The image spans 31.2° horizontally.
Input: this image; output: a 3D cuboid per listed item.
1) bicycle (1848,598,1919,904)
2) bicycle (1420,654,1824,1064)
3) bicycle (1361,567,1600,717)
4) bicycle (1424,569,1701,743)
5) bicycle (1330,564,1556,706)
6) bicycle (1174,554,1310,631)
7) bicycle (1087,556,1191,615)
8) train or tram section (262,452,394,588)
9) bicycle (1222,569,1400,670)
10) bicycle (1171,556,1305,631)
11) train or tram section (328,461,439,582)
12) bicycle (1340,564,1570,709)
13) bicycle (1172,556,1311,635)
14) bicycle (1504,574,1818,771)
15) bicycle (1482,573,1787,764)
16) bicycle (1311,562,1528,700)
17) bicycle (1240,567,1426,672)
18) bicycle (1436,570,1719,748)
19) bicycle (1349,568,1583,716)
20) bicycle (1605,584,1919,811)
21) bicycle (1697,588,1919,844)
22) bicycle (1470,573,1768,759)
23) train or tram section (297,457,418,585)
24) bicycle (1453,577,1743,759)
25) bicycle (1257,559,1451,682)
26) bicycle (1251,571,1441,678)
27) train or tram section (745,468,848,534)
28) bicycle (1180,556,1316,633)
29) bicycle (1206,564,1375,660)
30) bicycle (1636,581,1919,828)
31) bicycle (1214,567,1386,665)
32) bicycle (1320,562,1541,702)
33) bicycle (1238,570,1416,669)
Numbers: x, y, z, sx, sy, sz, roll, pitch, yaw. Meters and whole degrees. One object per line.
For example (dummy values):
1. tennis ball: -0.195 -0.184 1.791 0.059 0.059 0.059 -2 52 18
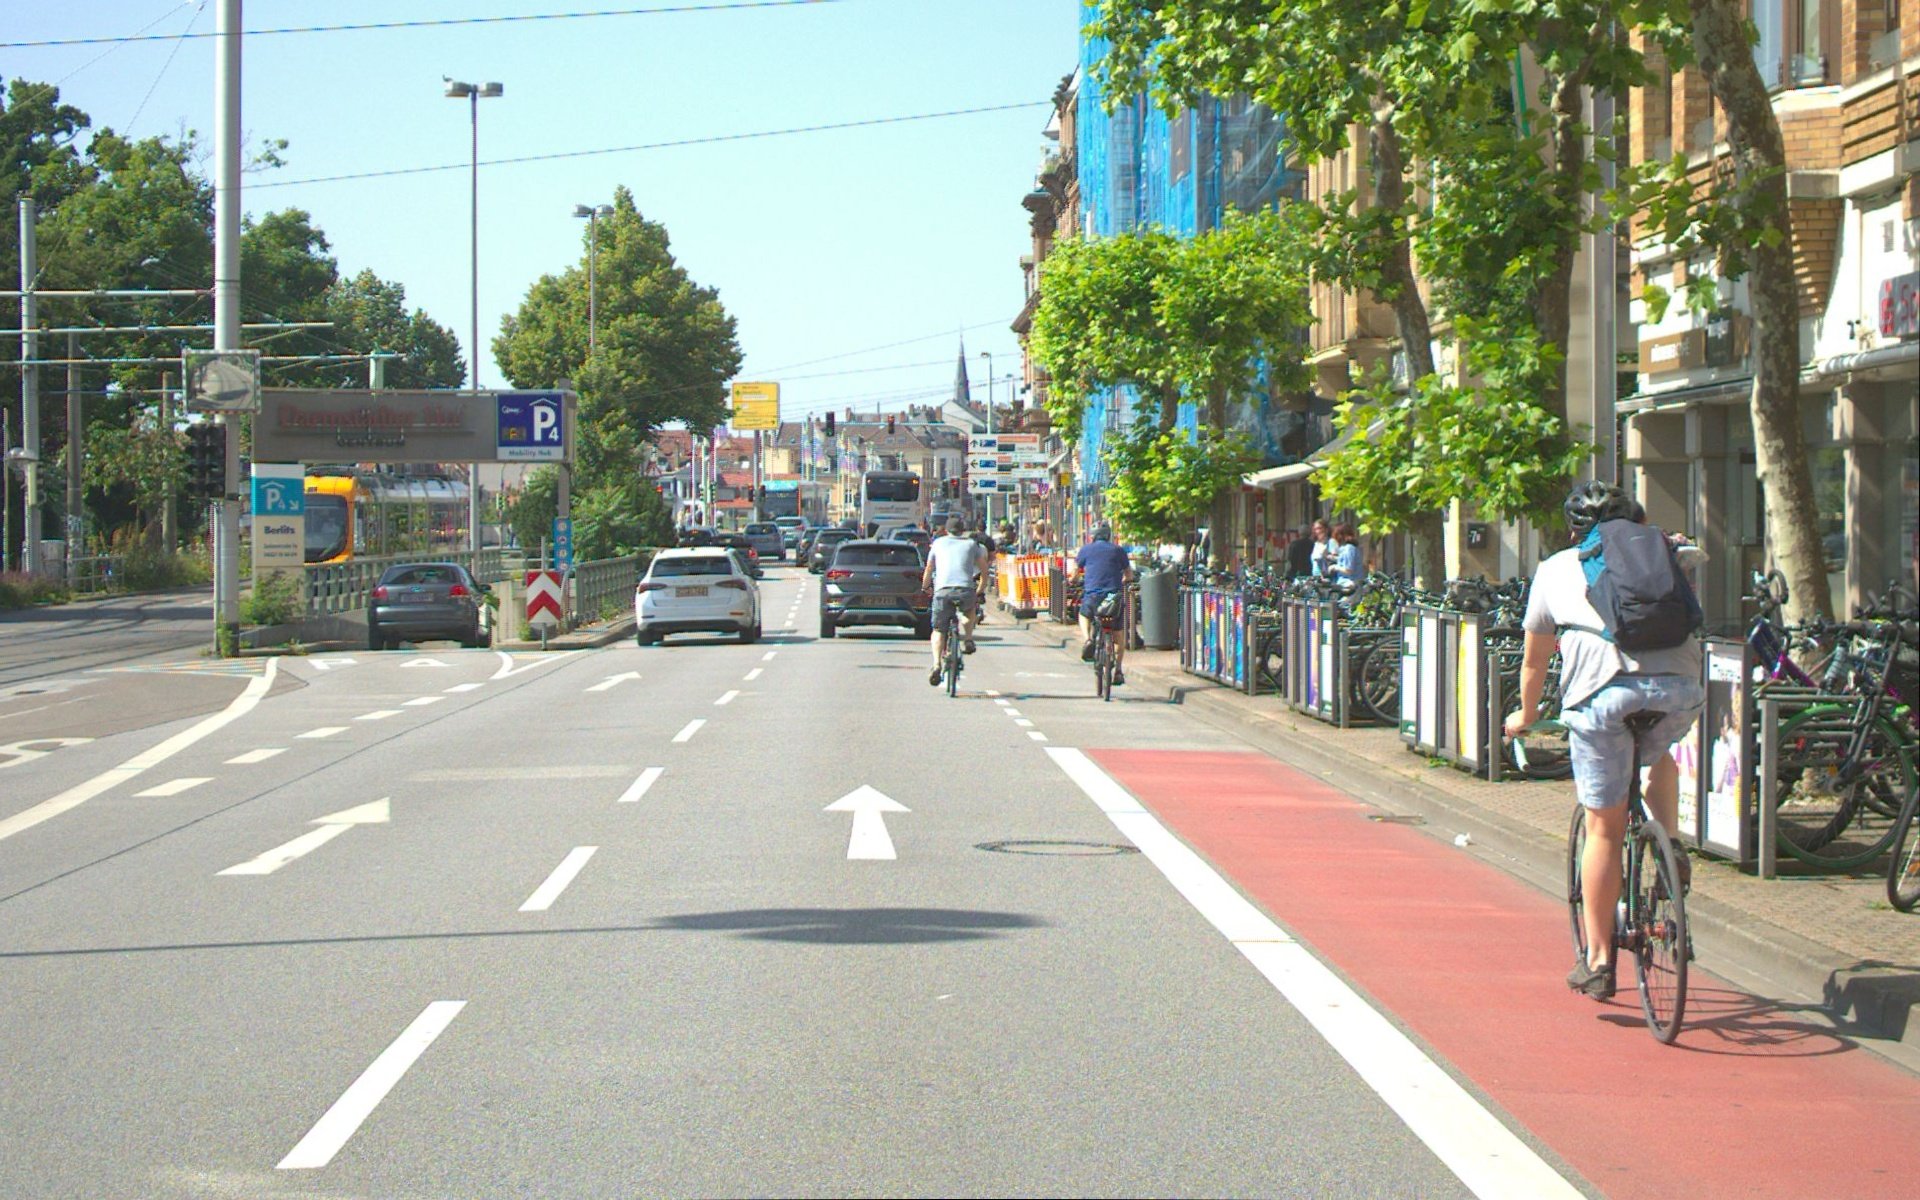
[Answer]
1. bicycle: 4.363 0.572 13.235 1.752 1.143 0.483 0 1 -3
2. bicycle: 2.053 0.765 10.982 0.734 1.089 2.131 2 1 -3
3. bicycle: 4.004 0.325 26.495 1.752 1.143 0.483 0 0 -3
4. bicycle: 4.024 0.371 23.011 1.752 1.143 0.483 0 1 -3
5. bicycle: 3.927 0.281 27.992 1.752 1.143 0.483 0 1 -3
6. bicycle: 3.789 -0.104 46.236 1.752 1.014 0.587 -1 1 -3
7. bicycle: 3.088 -0.255 59.293 1.752 1.014 0.483 0 1 -3
8. train or tram section: -17.367 -2.194 94.775 2.613 3.569 6.104 2 1 -2
9. bicycle: 3.585 0.199 35.141 1.752 1.014 0.483 0 1 -3
10. bicycle: 3.790 -0.094 46.856 1.752 1.014 0.557 0 1 -3
11. train or tram section: -17.830 -2.432 106.588 2.613 3.569 5.358 2 1 -2
12. bicycle: 3.953 0.289 27.508 1.752 1.143 0.483 0 1 -3
13. bicycle: 3.687 -0.063 45.097 1.752 1.014 0.483 0 1 -3
14. bicycle: 4.158 0.425 20.434 1.752 1.143 0.499 0 1 -3
15. bicycle: 4.113 0.413 21.009 1.752 1.143 0.483 0 1 -3
16. bicycle: 3.868 0.257 28.997 1.752 1.143 0.483 0 1 -3
17. bicycle: 3.661 0.192 33.749 1.752 1.014 0.483 0 1 -3
18. bicycle: 4.035 0.382 22.503 1.752 1.143 0.483 0 1 -3
19. bicycle: 3.970 0.326 27.010 1.752 1.143 0.483 0 1 -3
20. bicycle: 4.191 0.488 17.383 1.752 1.119 0.483 0 1 -3
21. bicycle: 4.304 0.523 15.712 1.752 1.143 0.483 0 1 -3
22. bicycle: 4.113 0.407 21.504 1.752 1.143 0.483 0 1 -3
23. train or tram section: -17.620 -2.317 100.856 2.613 3.569 6.104 2 1 -2
24. bicycle: 4.073 0.433 22.003 1.752 1.143 0.483 0 1 -3
25. bicycle: 3.704 0.190 32.399 1.752 1.143 0.483 0 1 -3
26. bicycle: 3.698 0.232 32.995 1.752 1.014 0.483 0 1 -3
27. train or tram section: -9.380 -5.671 198.705 2.824 3.569 10.025 2 1 16
28. bicycle: 3.817 -0.073 45.625 1.752 1.014 0.483 0 1 -3
29. bicycle: 3.537 0.131 36.847 1.752 1.014 0.483 0 1 -3
30. bicycle: 4.239 0.505 16.829 1.752 1.183 0.483 0 1 -3
31. bicycle: 3.586 0.167 36.291 1.752 1.014 0.483 0 1 -3
32. bicycle: 3.893 0.259 28.500 1.752 1.143 0.483 0 1 -3
33. bicycle: 3.673 0.196 34.479 1.717 0.981 0.483 0 1 -3
